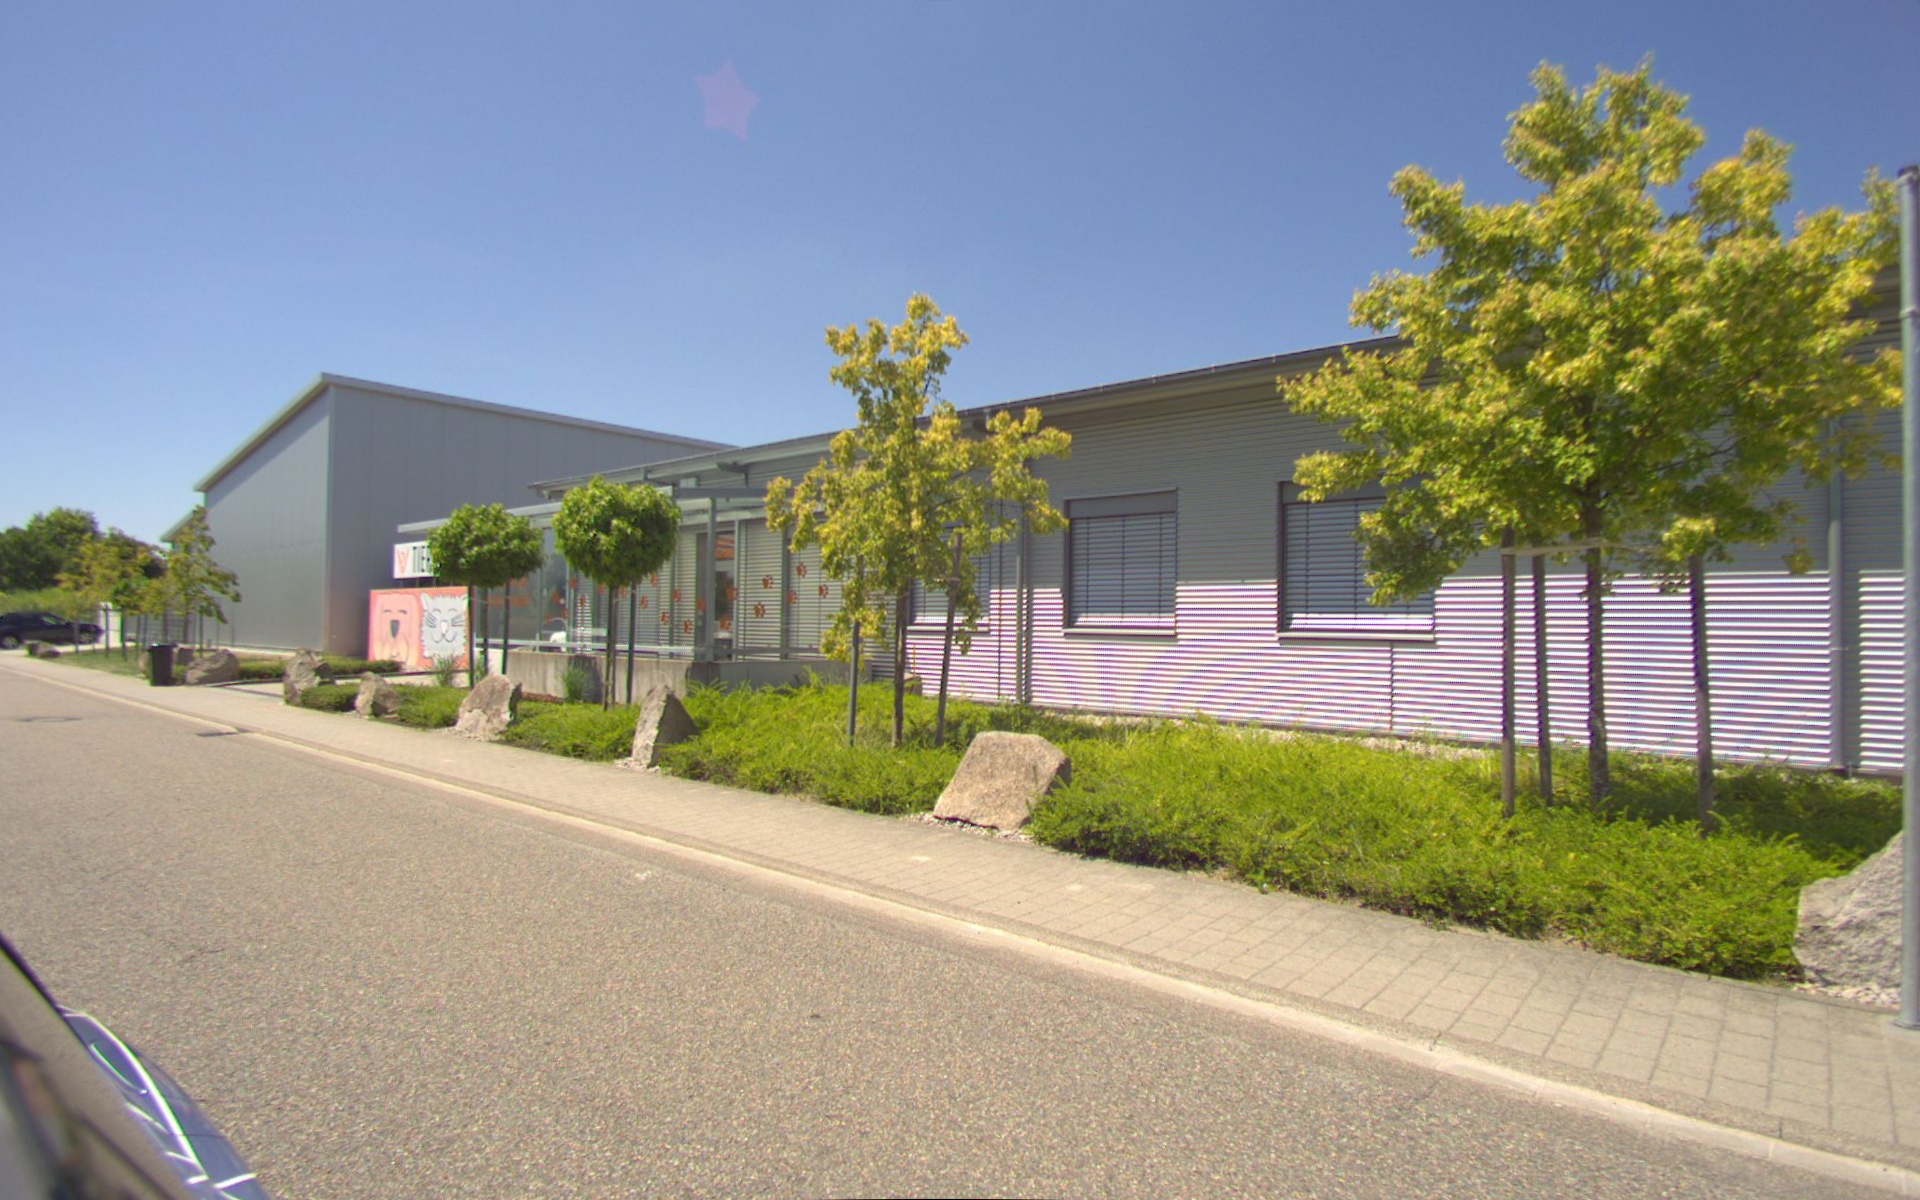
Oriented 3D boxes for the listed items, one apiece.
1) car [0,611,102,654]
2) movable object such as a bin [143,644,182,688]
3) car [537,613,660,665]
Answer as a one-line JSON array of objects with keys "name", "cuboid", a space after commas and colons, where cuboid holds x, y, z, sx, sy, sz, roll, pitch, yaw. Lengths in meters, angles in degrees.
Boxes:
[{"name": "car", "cuboid": [-42.633, 1.483, 46.891, 1.781, 1.671, 4.120, 0, 3, 41]}, {"name": "movable object such as a bin", "cuboid": [-17.766, 1.463, 22.546, 0.511, 0.957, 0.565, -1, -2, 35]}, {"name": "car", "cuboid": [-11.886, 1.251, 33.191, 3.991, 1.596, 1.890, -1, -2, 35]}]
